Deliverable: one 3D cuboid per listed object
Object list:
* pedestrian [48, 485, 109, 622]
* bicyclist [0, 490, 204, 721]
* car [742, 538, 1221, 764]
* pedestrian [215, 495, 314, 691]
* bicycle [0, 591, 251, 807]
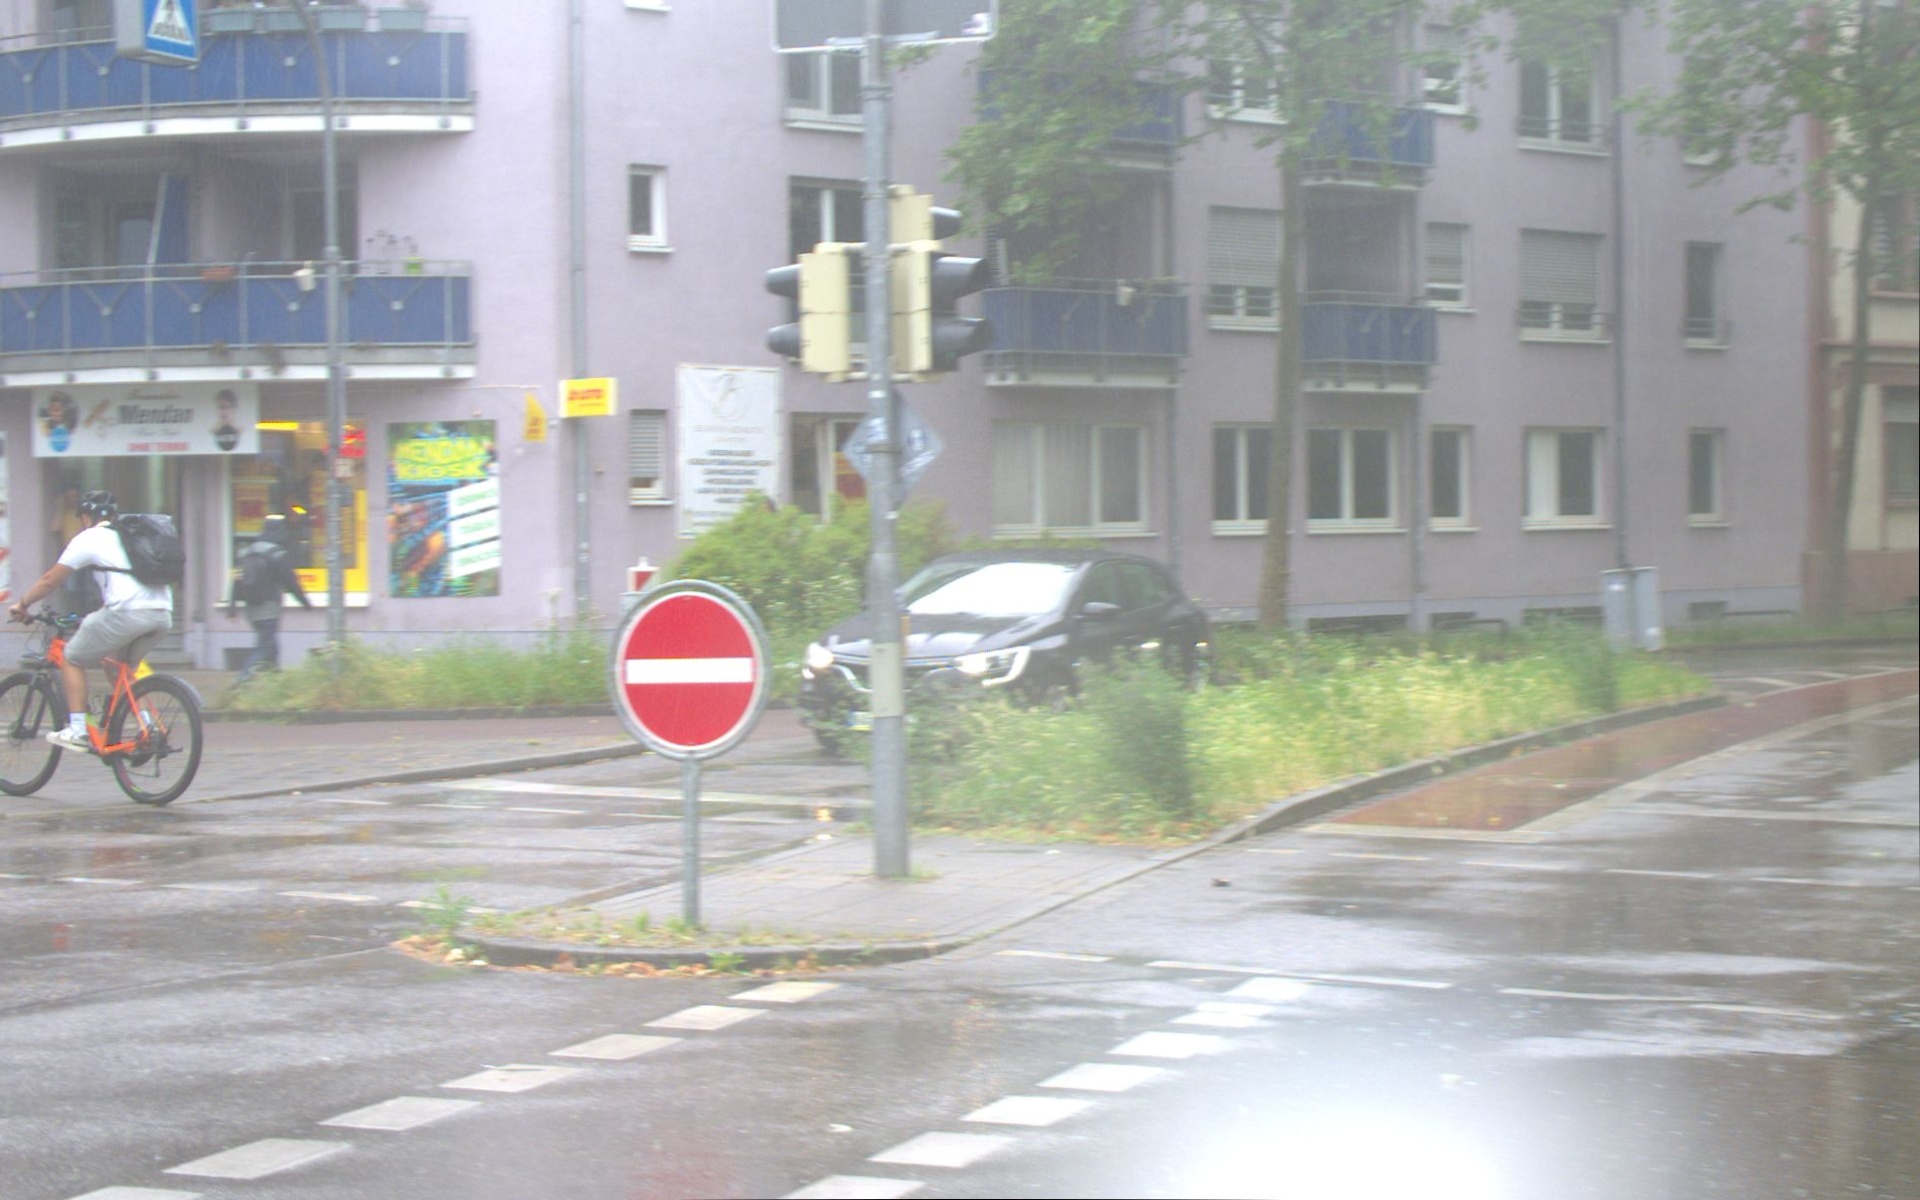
[{"bbox_3d":[-10.382,-0.552,40.496,0.472,1.596,0.593,0,1,12],"label":"pedestrian"},{"bbox_3d":[-5.093,0.017,20.153,1.076,1.305,0.741,1,3,35],"label":"bicyclist"},{"bbox_3d":[0.259,0.294,25.088,1.991,1.456,4.172,1,2,24],"label":"car"},{"bbox_3d":[-6.475,-0.071,32.003,0.641,1.797,0.621,0,2,21],"label":"pedestrian"},{"bbox_3d":[-5.178,0.555,20.245,2.038,1.169,0.751,1,3,35],"label":"bicycle"}]
